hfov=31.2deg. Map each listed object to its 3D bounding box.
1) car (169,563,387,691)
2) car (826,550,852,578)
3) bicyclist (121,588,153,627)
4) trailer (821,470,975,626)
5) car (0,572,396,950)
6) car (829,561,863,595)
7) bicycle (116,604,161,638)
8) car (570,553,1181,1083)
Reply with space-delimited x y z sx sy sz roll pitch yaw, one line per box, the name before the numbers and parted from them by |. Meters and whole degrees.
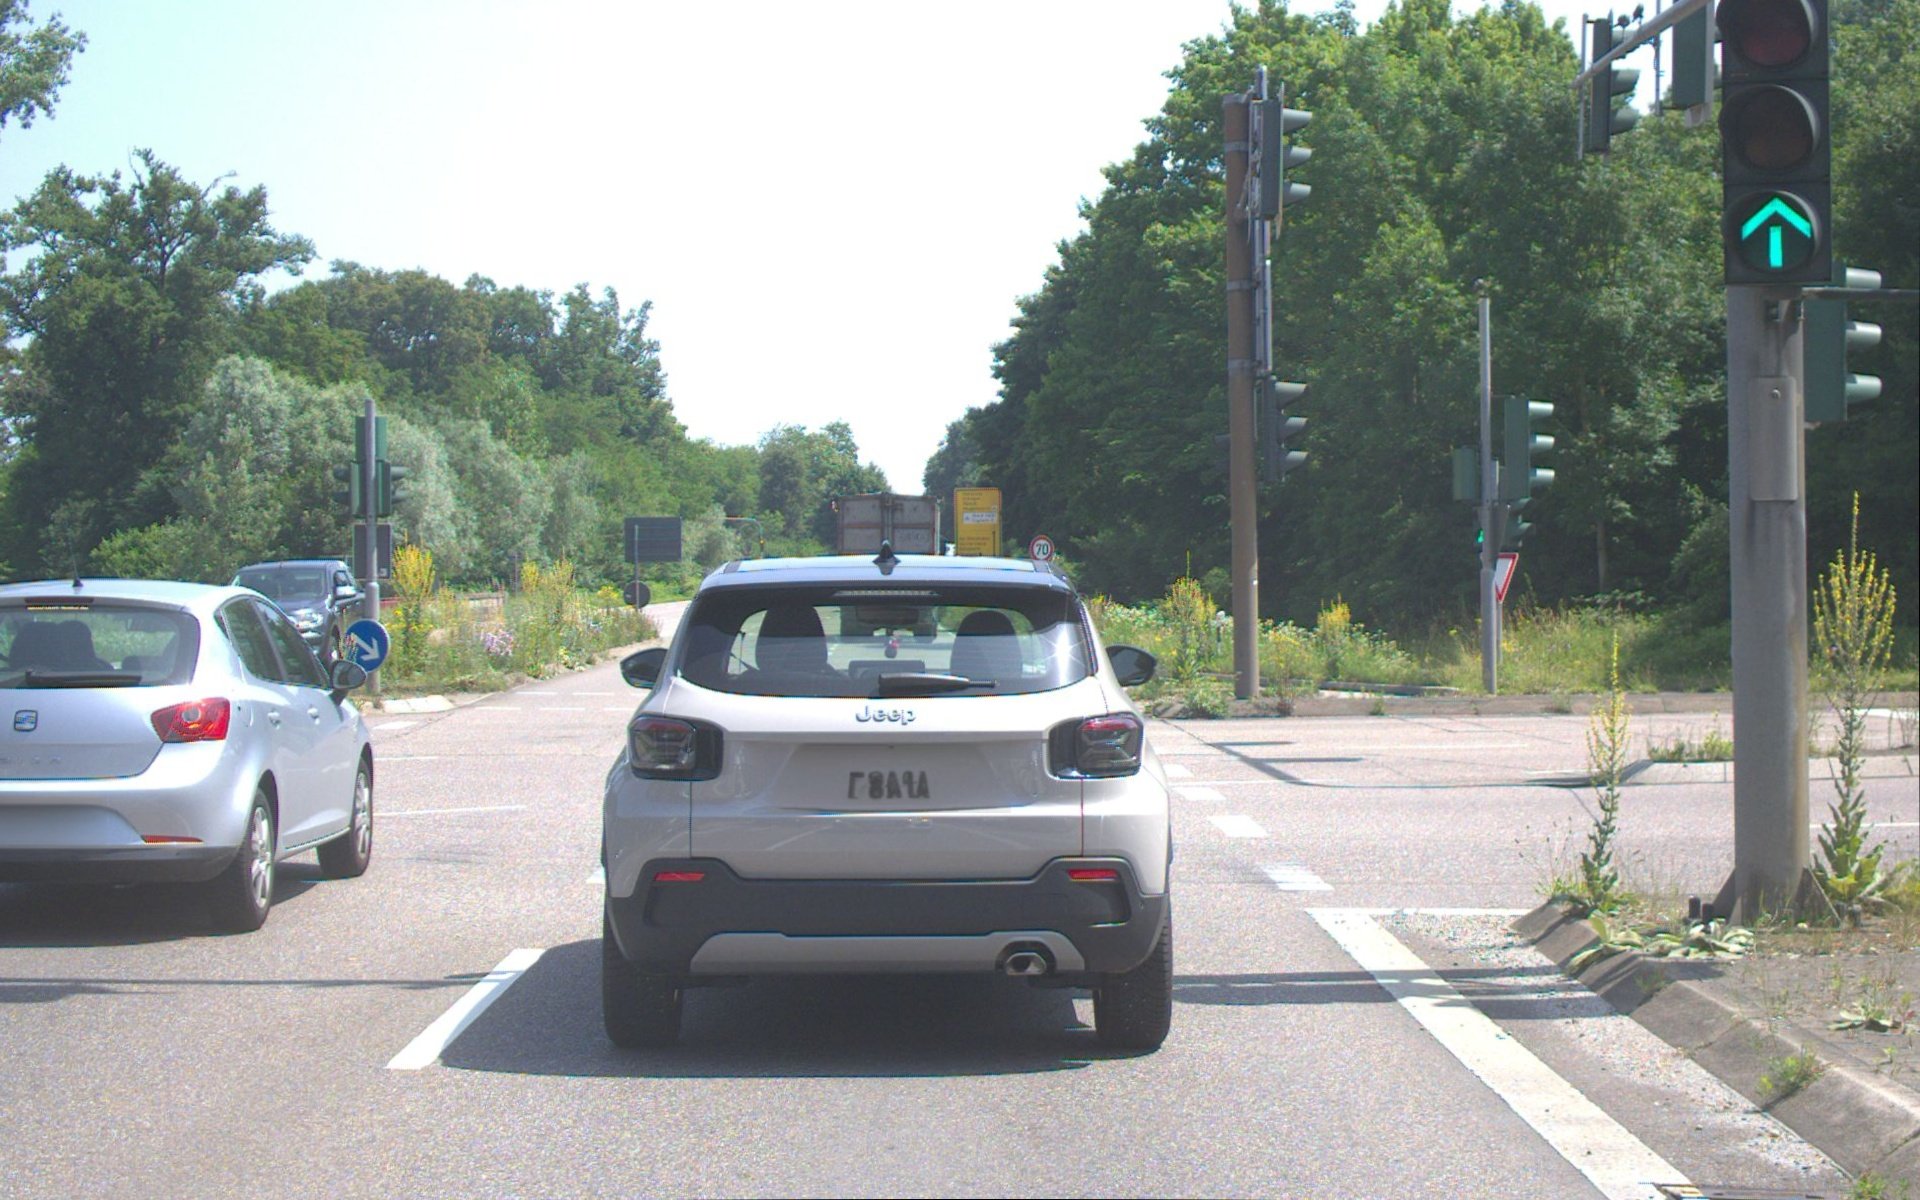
car | -9.707 0.346 49.358 1.993 1.672 5.365 -2 0 0
car | -9.003 -2.683 256.351 1.774 2.007 4.000 -1 1 0
bicyclist | -25.625 0.239 107.056 0.757 1.191 0.592 -2 0 10
trailer | -1.573 -1.351 93.769 3.383 3.975 10.803 1 0 3
car | -3.646 0.601 15.121 1.666 1.425 3.828 1 0 0
car | -6.981 -1.346 210.671 1.993 2.007 4.554 -1 0 -1
bicycle | -25.593 0.647 107.131 0.676 1.002 1.800 -2 1 9
car | -0.237 0.613 11.956 1.767 1.529 4.000 0 0 0
